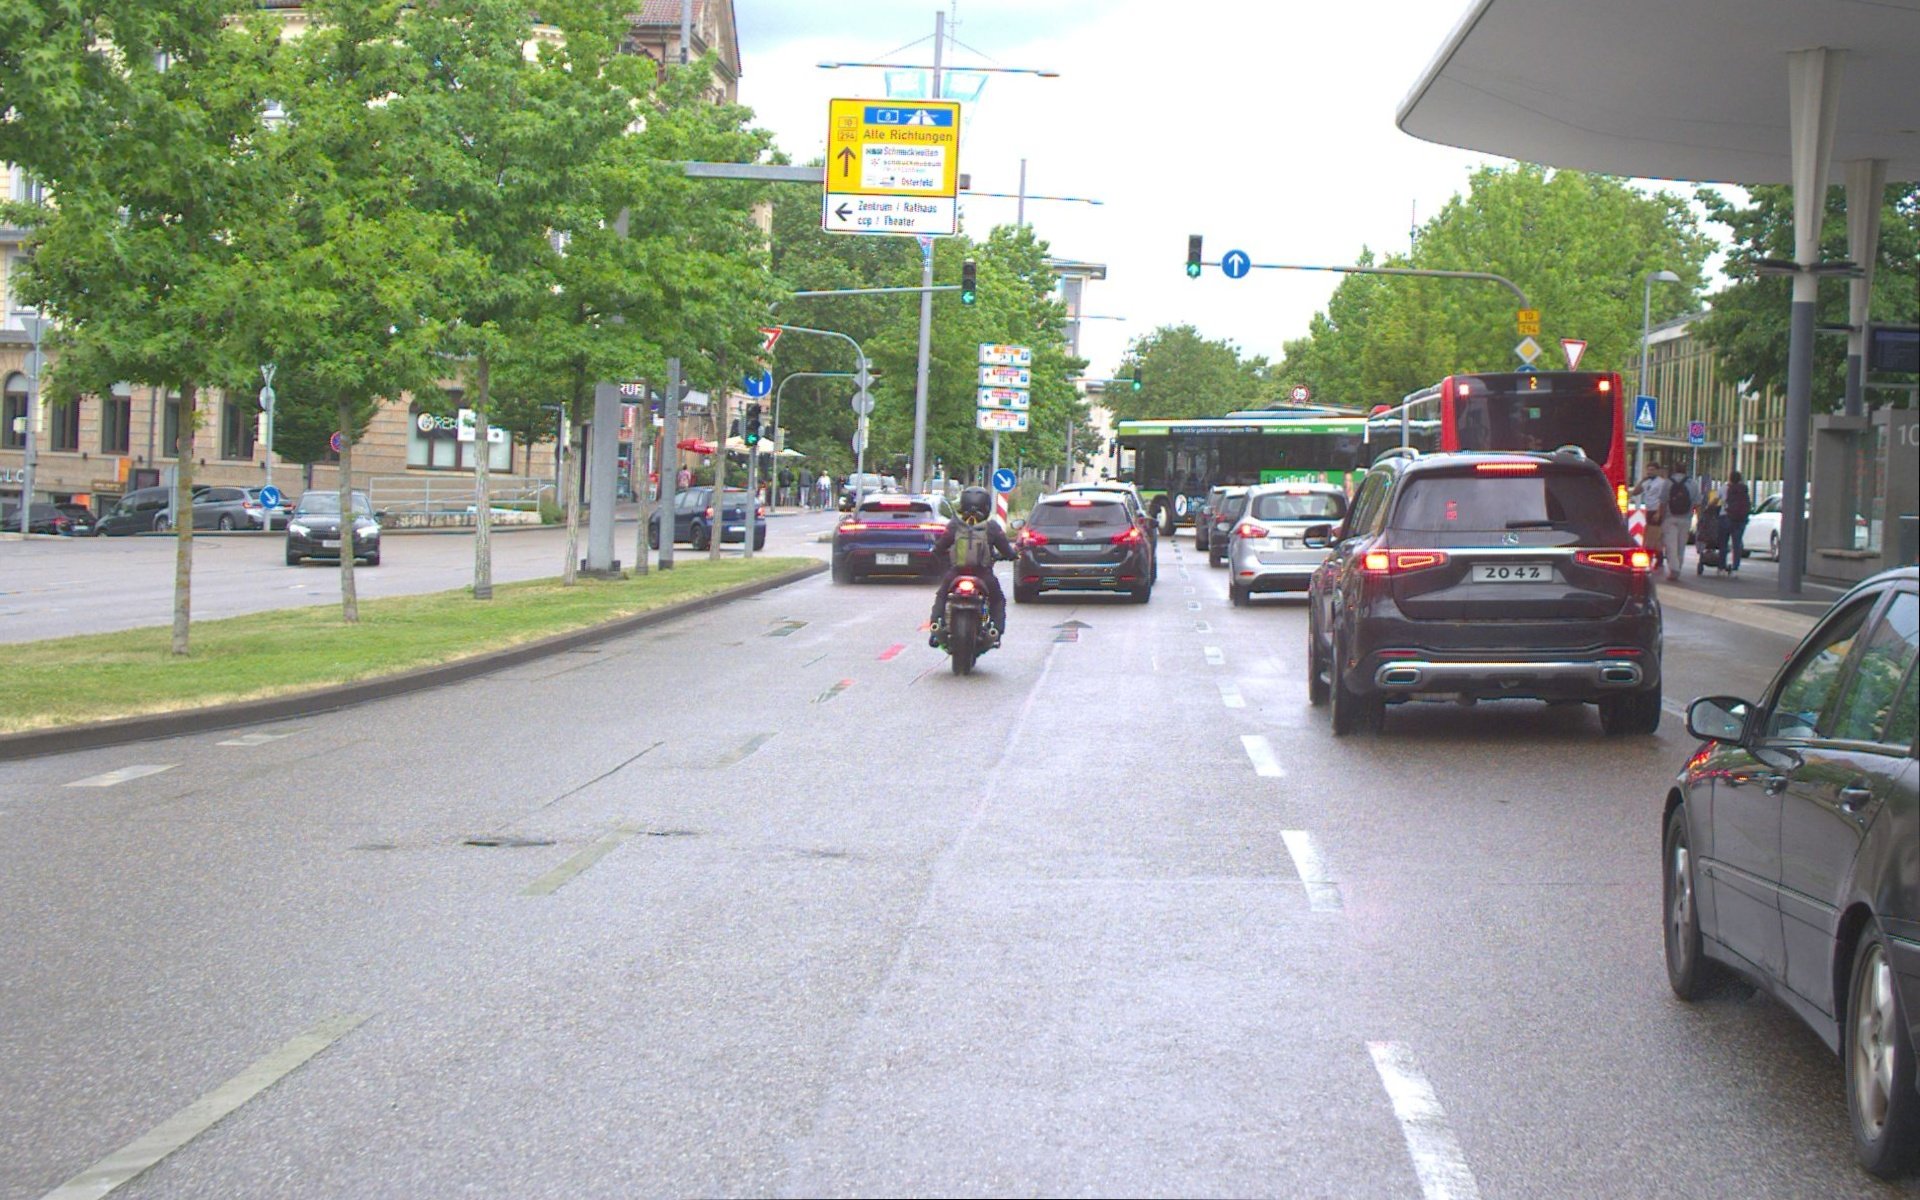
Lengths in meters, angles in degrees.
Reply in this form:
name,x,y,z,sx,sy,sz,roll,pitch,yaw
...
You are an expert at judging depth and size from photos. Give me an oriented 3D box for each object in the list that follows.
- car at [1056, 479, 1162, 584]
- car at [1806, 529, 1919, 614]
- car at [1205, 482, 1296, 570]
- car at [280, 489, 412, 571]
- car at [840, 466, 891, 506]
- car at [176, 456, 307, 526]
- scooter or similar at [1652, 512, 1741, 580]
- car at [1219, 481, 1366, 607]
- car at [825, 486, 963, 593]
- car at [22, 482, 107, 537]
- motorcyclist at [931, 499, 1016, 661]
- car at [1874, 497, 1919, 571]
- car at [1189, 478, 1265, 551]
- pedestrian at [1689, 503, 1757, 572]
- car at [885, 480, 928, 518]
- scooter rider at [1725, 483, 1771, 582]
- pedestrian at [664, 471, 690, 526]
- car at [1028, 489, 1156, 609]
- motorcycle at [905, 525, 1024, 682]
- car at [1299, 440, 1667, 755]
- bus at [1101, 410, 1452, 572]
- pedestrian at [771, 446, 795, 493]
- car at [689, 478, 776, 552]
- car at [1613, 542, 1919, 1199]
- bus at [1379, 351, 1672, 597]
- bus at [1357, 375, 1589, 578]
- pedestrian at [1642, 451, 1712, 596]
name,x,y,z,sx,sy,sz,roll,pitch,yaw
car,2.335,-1.101,53.538,1.576,1.561,3.871,-1,2,3
car,19.354,-0.625,73.168,1.712,1.656,4.240,2,2,2
car,5.399,-1.405,64.195,1.576,1.561,3.871,-1,2,3
car,-11.994,-1.388,67.356,1.680,1.522,4.640,1,2,1
car,-3.782,-4.600,138.285,1.780,1.561,3.430,-1,2,3
car,-19.906,-3.027,95.135,1.866,1.678,3.999,5,-1,-37
scooter or similar,11.280,-0.830,52.617,1.244,1.009,0.763,2,1,17
car,4.327,-0.769,45.178,1.741,1.561,3.871,-1,2,3
car,-0.985,-0.970,53.477,1.816,1.565,4.404,-1,2,3
car,-27.849,-2.820,106.868,1.658,1.599,3.253,-3,4,-31
motorcyclist,0.118,-0.178,29.175,0.641,1.342,0.688,1,2,6
car,21.293,-1.445,75.250,1.540,1.554,3.409,2,2,-1
car,5.886,-1.906,76.125,1.576,1.561,3.796,-1,2,3
pedestrian,11.626,-0.953,52.390,0.914,0.981,0.633,3,-2,17
car,-2.237,-4.264,144.553,1.576,1.561,3.430,-1,2,3
scooter rider,11.997,-1.022,52.346,0.592,1.484,0.764,2,1,17
pedestrian,-10.463,-3.742,126.994,0.724,2.006,0.826,0,2,-23
car,1.792,-0.713,45.754,1.576,1.499,3.871,0,2,4
motorcycle,0.053,0.007,29.050,0.793,1.258,1.855,0,2,7
car,3.370,-0.101,23.018,1.957,1.869,4.873,-1,2,3
bus,8.117,-2.891,90.689,2.837,3.974,11.865,0,2,-30
pedestrian,-7.401,-5.439,143.698,0.724,1.959,0.826,0,2,-23
car,-5.261,-1.955,79.088,1.836,1.622,3.707,1,1,-6
car,2.865,0.624,8.763,1.698,1.457,4.304,0,2,2
bus,8.296,-1.883,51.876,3.287,3.280,10.877,1,2,4
bus,8.896,-2.170,60.697,3.291,3.277,8.849,1,2,4
pedestrian,10.281,-1.097,49.308,0.778,2.006,0.781,5,2,16
